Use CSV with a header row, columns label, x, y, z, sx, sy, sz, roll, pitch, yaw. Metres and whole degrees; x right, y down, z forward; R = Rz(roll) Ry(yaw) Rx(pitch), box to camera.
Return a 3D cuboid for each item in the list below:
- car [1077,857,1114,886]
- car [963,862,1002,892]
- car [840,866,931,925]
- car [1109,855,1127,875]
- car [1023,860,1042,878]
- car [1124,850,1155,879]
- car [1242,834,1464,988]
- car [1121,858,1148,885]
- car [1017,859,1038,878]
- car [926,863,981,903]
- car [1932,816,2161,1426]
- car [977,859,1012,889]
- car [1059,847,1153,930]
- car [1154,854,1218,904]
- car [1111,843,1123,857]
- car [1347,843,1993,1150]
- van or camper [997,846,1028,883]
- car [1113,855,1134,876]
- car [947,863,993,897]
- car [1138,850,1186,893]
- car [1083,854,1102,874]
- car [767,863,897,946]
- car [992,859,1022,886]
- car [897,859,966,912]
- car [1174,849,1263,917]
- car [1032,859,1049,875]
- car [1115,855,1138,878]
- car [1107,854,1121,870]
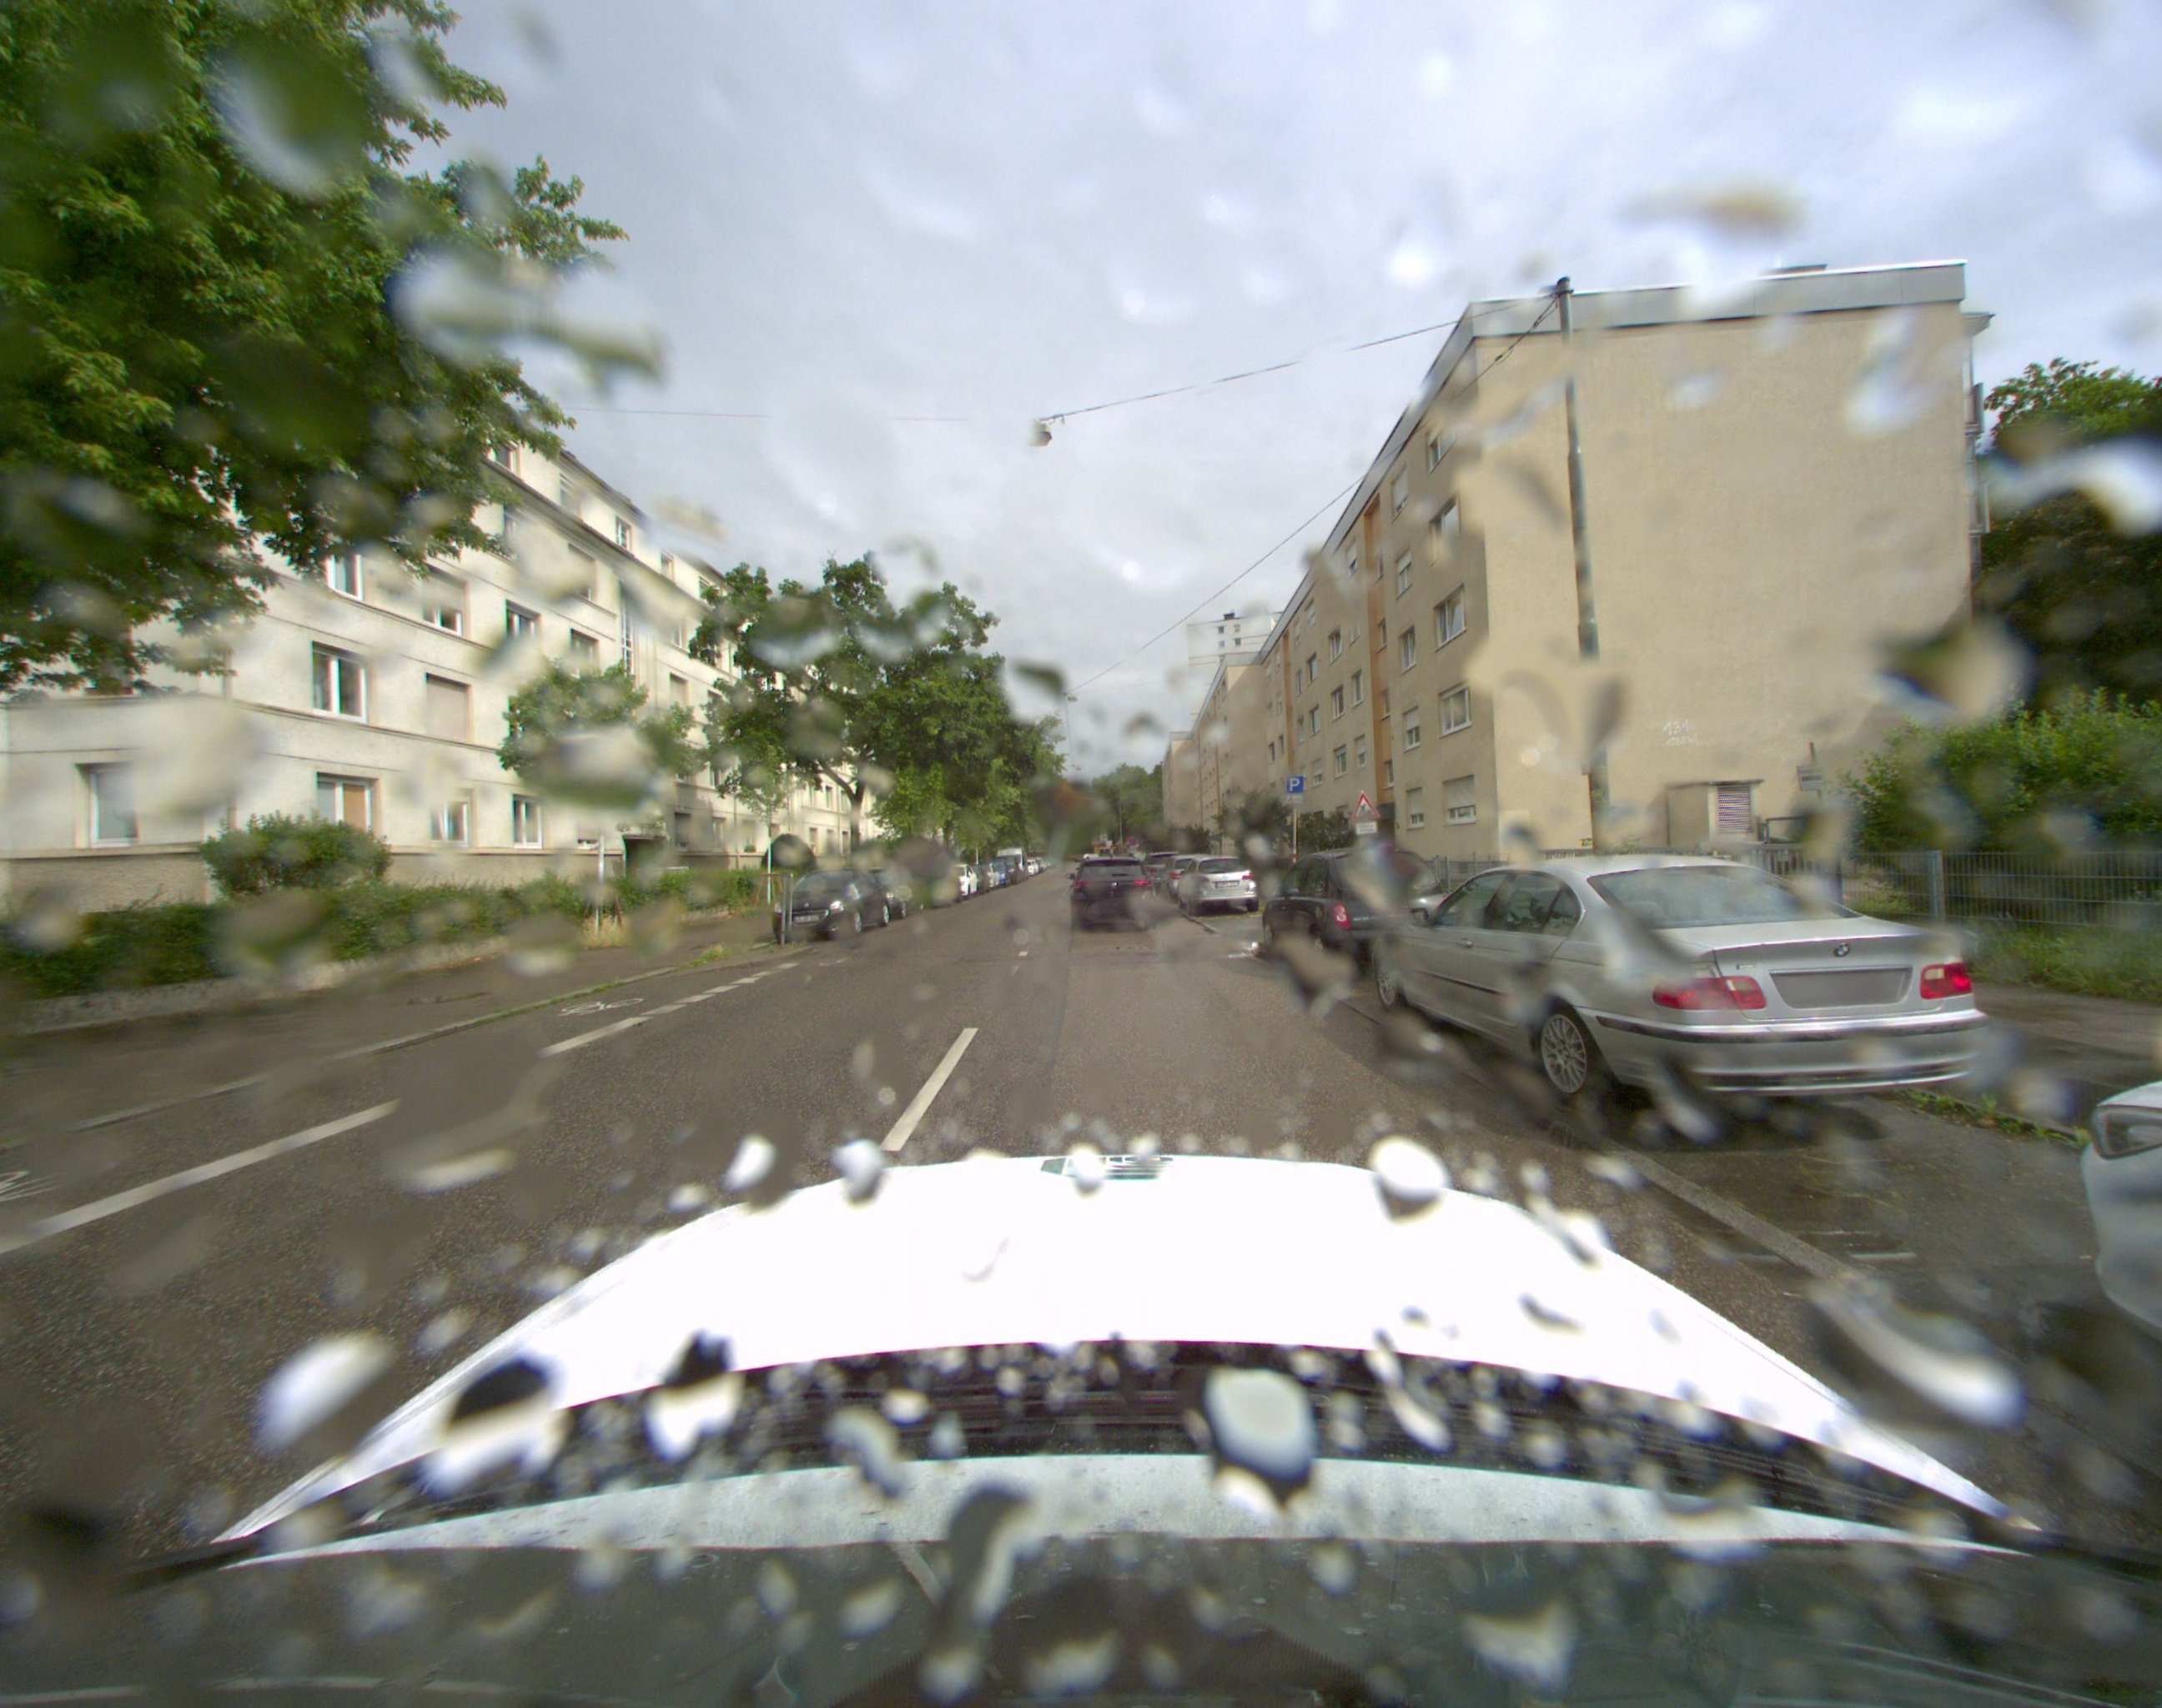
label,x,y,z,sx,sy,sz,roll,pitch,yaw
car,0.834,0.963,44.566,1.805,1.503,4.004,0,-1,4
car,-5.256,1.214,43.755,1.581,1.418,3.919,-4,0,0
car,-5.496,1.122,23.345,1.581,1.418,4.051,-4,0,0
car,3.692,1.070,82.047,1.659,1.838,4.002,-3,0,2
car,-4.793,1.448,80.503,1.581,1.639,3.919,-4,0,0
car,3.643,0.653,51.024,1.599,1.635,4.032,-4,0,0
car,3.382,0.616,10.953,1.599,1.661,4.031,-1,0,-1
car,3.852,1.222,58.855,1.599,1.765,4.032,-4,0,0
car,-4.817,1.301,74.189,1.581,1.639,3.919,-4,0,0
car,-5.164,1.143,33.461,1.581,1.418,3.919,-4,0,0
car,3.508,0.602,0.448,1.743,1.508,4.111,-2,-1,0
car,-5.044,1.136,48.024,1.581,1.639,3.919,-4,0,0
car,0.643,0.699,18.446,1.865,1.645,4.066,-1,0,4
car,3.525,0.816,27.966,1.599,1.506,4.032,-4,0,0
car,5.312,-0.597,119.764,1.659,1.838,4.002,-3,0,2
car,3.553,0.698,6.075,1.711,1.452,4.258,-1,0,-1
van or camper,-5.015,0.735,60.091,1.797,2.493,5.019,-3,0,0
car,3.939,1.075,75.914,1.599,1.765,4.032,-4,0,0
car,-5.212,1.177,38.752,1.581,1.418,3.919,-4,0,0
car,3.457,0.728,35.458,1.599,1.672,4.032,-4,0,0
car,1.259,1.066,86.373,1.829,2.103,4.003,0,-1,3
car,-5.391,1.023,18.145,1.581,1.506,4.063,-4,0,0
car,-4.840,1.188,53.854,1.581,1.639,3.919,-4,0,0
car,-5.093,1.026,28.167,1.581,1.576,4.013,-4,0,0
car,3.540,0.713,21.641,1.689,1.539,4.033,-4,0,1
car,-4.336,1.389,88.057,1.581,1.639,3.919,-4,0,0
car,3.801,1.059,68.647,1.599,1.765,4.032,-4,0,0
car,4.072,0.961,101.218,1.659,1.838,4.002,-3,0,2
